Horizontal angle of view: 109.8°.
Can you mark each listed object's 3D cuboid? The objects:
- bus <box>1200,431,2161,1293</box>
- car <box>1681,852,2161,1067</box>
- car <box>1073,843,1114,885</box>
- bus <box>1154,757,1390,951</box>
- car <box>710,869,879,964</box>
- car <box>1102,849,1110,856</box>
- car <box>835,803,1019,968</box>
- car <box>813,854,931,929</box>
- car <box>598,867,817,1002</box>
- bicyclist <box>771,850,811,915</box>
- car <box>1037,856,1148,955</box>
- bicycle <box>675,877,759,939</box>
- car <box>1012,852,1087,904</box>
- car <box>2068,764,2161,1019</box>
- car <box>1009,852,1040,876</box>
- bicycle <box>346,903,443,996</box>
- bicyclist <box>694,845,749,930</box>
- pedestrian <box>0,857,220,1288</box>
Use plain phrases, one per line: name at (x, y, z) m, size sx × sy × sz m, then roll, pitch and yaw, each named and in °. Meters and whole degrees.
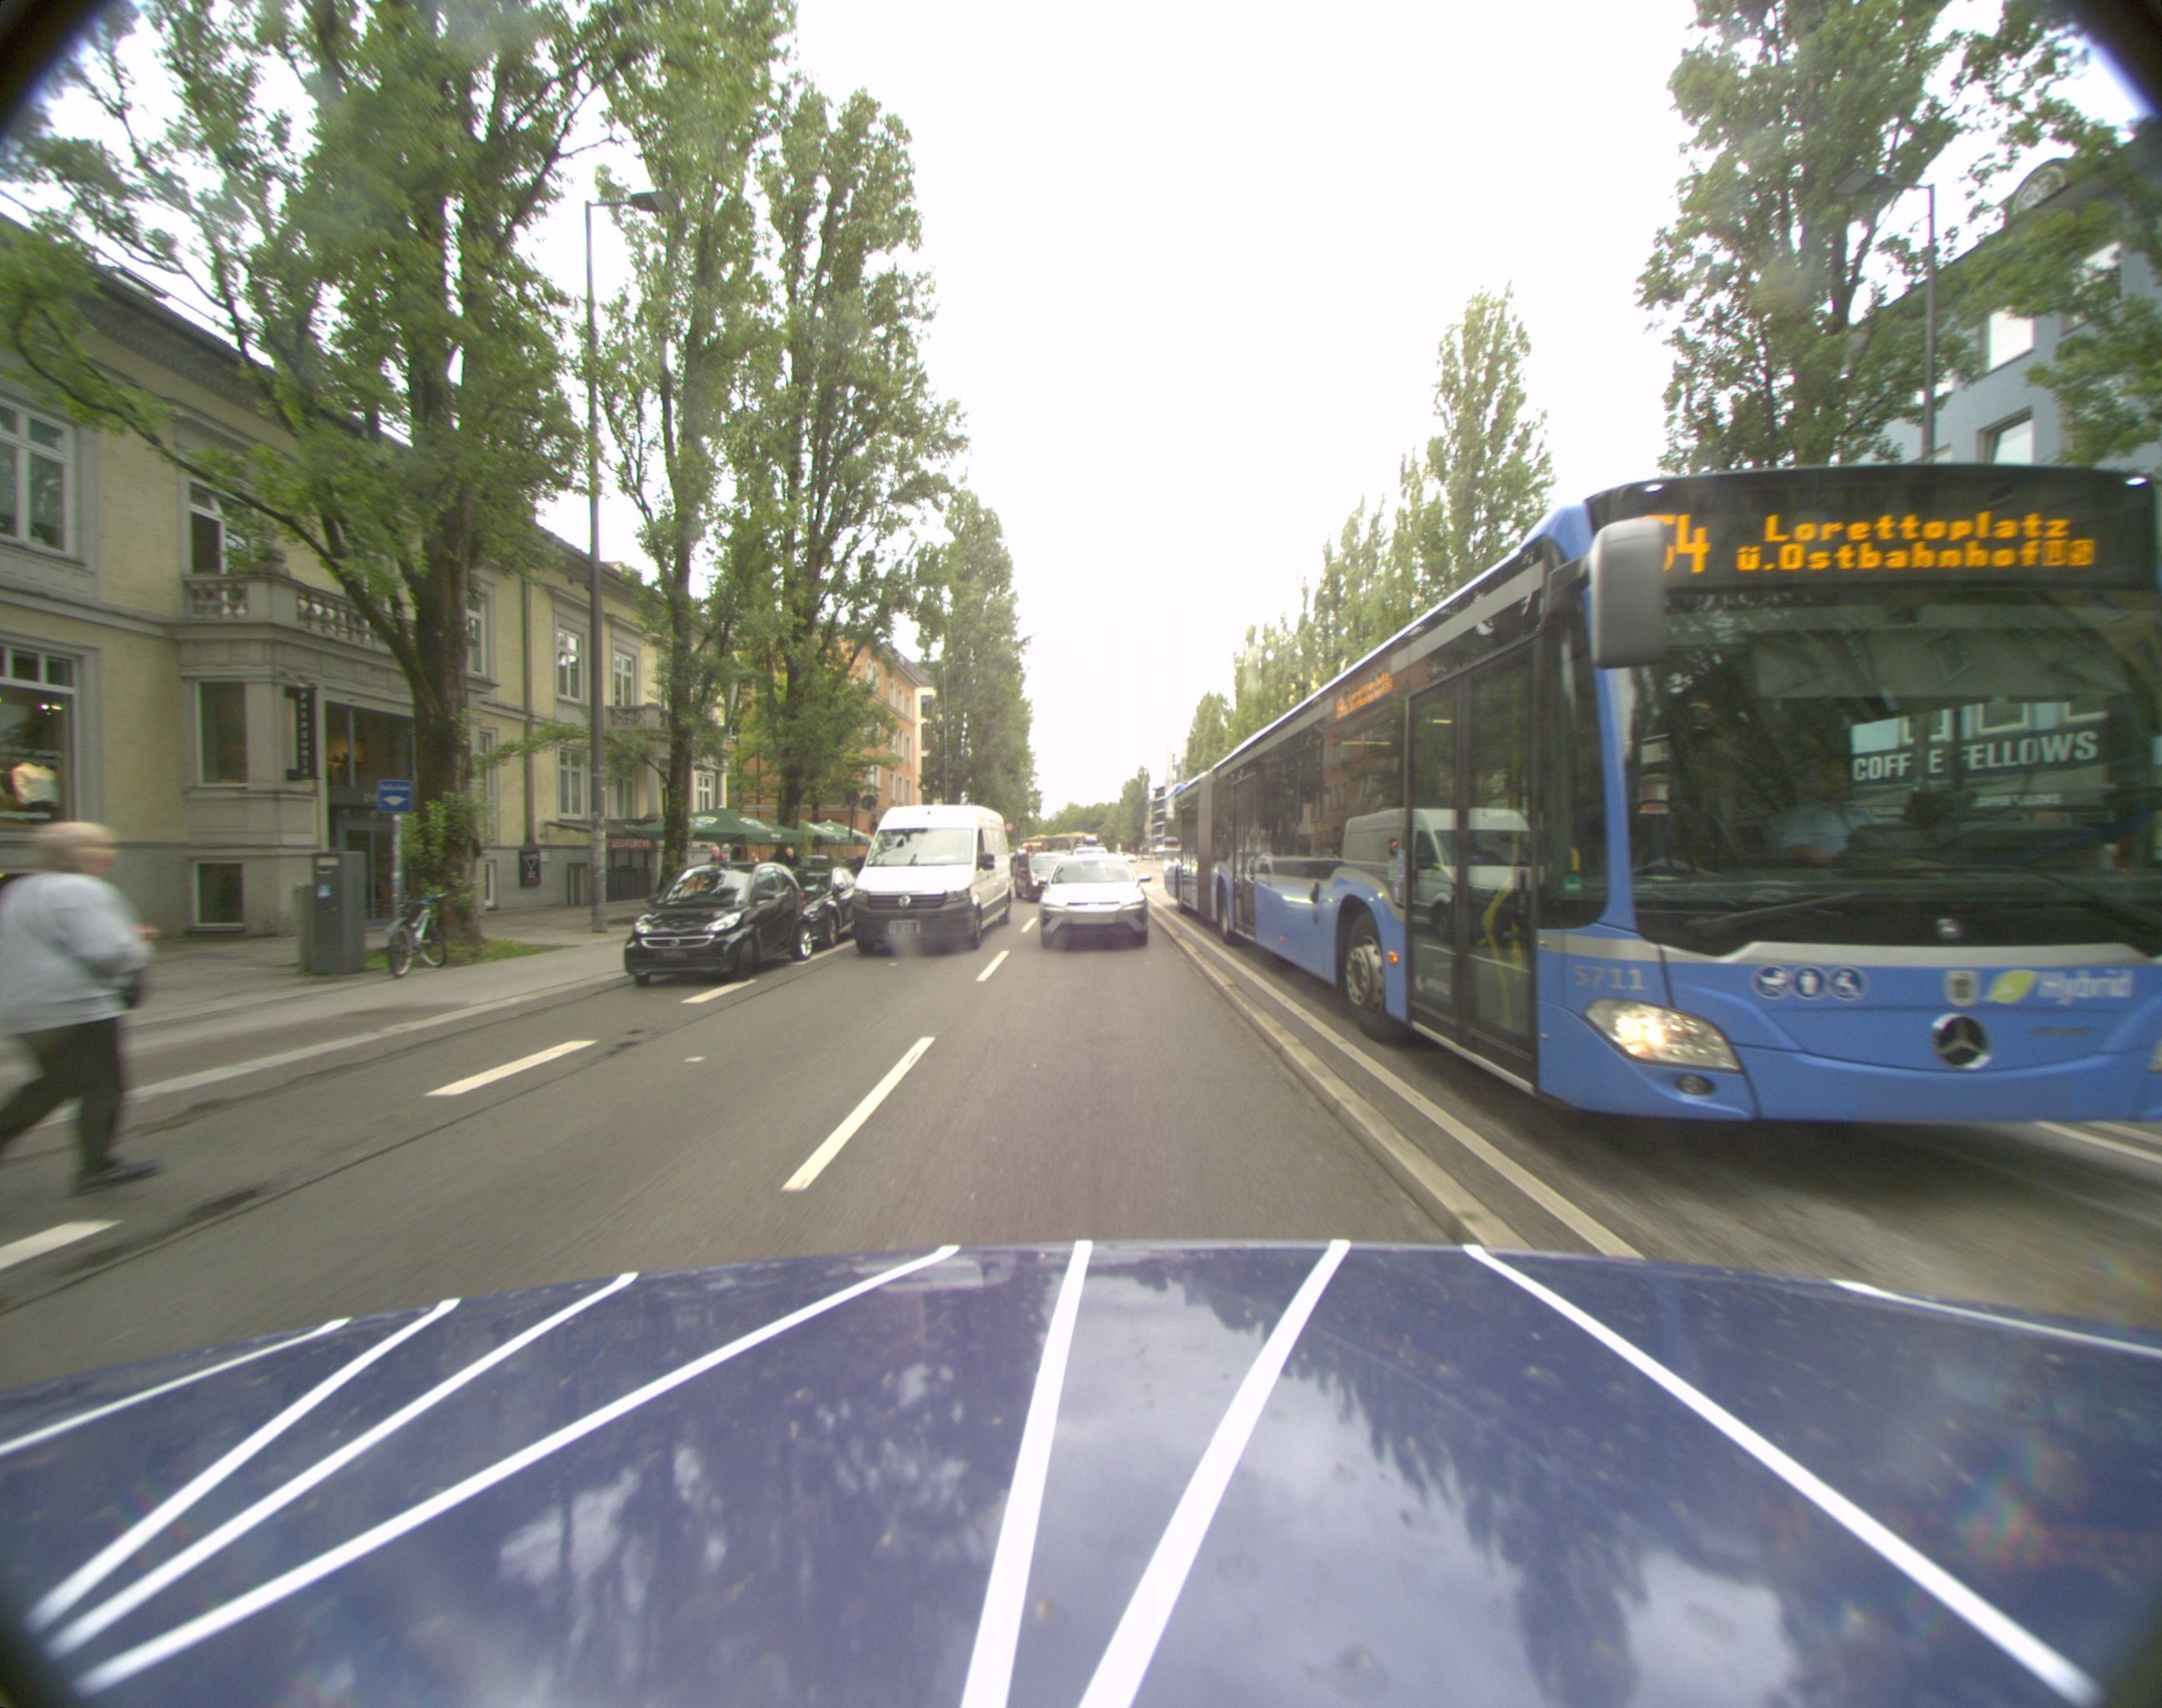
bus at (3.289, 0.007, 7.619) m, size 2.696 × 2.932 × 10.051 m, roll 0°, pitch 0°, yaw 1°
car at (8.977, 0.799, 8.006) m, size 1.775 × 1.625 × 4.455 m, roll 0°, pitch 0°, yaw 0°
car at (0.585, 0.424, 37.656) m, size 1.839 × 1.831 × 5.129 m, roll -2°, pitch 1°, yaw 0°
bus at (3.380, -0.030, 16.526) m, size 2.690 × 2.932 × 10.051 m, roll 0°, pitch 0°, yaw 1°
car at (-5.163, 1.044, 14.362) m, size 1.714 × 1.385 × 4.342 m, roll -1°, pitch 0°, yaw -3°
car at (5.314, -0.369, 161.043) m, size 1.718 × 1.532 × 4.076 m, roll 1°, pitch 0°, yaw 1°
car at (-2.615, 0.464, 14.923) m, size 2.068 × 2.478 × 6.730 m, roll -1°, pitch 0°, yaw 1°
car at (-5.250, 0.869, 19.698) m, size 1.808 × 1.628 × 4.446 m, roll -2°, pitch 1°, yaw -1°
car at (-4.970, 0.993, 10.508) m, size 1.596 × 1.509 × 2.729 m, roll -2°, pitch 0°, yaw 1°
bicyclist at (-7.664, 0.742, 20.102) m, size 0.741 × 1.677 × 0.748 m, roll -1°, pitch 1°, yaw -2°
car at (0.195, 0.848, 14.372) m, size 1.742 × 1.510 × 4.033 m, roll -2°, pitch 0°, yaw 0°
bicycle at (-7.560, 1.096, 15.919) m, size 0.887 × 1.113 × 2.100 m, roll -1°, pitch 1°, yaw -5°
car at (-1.185, 0.762, 26.246) m, size 1.884 × 1.582 × 4.188 m, roll -2°, pitch 0°, yaw -12°
car at (11.799, 0.407, 4.841) m, size 2.010 × 2.553 × 6.911 m, roll 1°, pitch 0°, yaw 1°
car at (-3.839, 0.653, 52.169) m, size 1.789 × 1.544 × 4.498 m, roll -2°, pitch 0°, yaw 0°
bicycle at (-8.934, 1.199, 9.943) m, size 0.510 × 0.988 × 1.624 m, roll -1°, pitch 1°, yaw -27°
bicyclist at (-7.568, 0.699, 16.039) m, size 0.831 × 1.747 × 0.667 m, roll -1°, pitch 1°, yaw -4°
pedestrian at (-4.851, 0.904, 3.458) m, size 0.829 × 1.763 × 0.871 m, roll 0°, pitch 1°, yaw 2°
